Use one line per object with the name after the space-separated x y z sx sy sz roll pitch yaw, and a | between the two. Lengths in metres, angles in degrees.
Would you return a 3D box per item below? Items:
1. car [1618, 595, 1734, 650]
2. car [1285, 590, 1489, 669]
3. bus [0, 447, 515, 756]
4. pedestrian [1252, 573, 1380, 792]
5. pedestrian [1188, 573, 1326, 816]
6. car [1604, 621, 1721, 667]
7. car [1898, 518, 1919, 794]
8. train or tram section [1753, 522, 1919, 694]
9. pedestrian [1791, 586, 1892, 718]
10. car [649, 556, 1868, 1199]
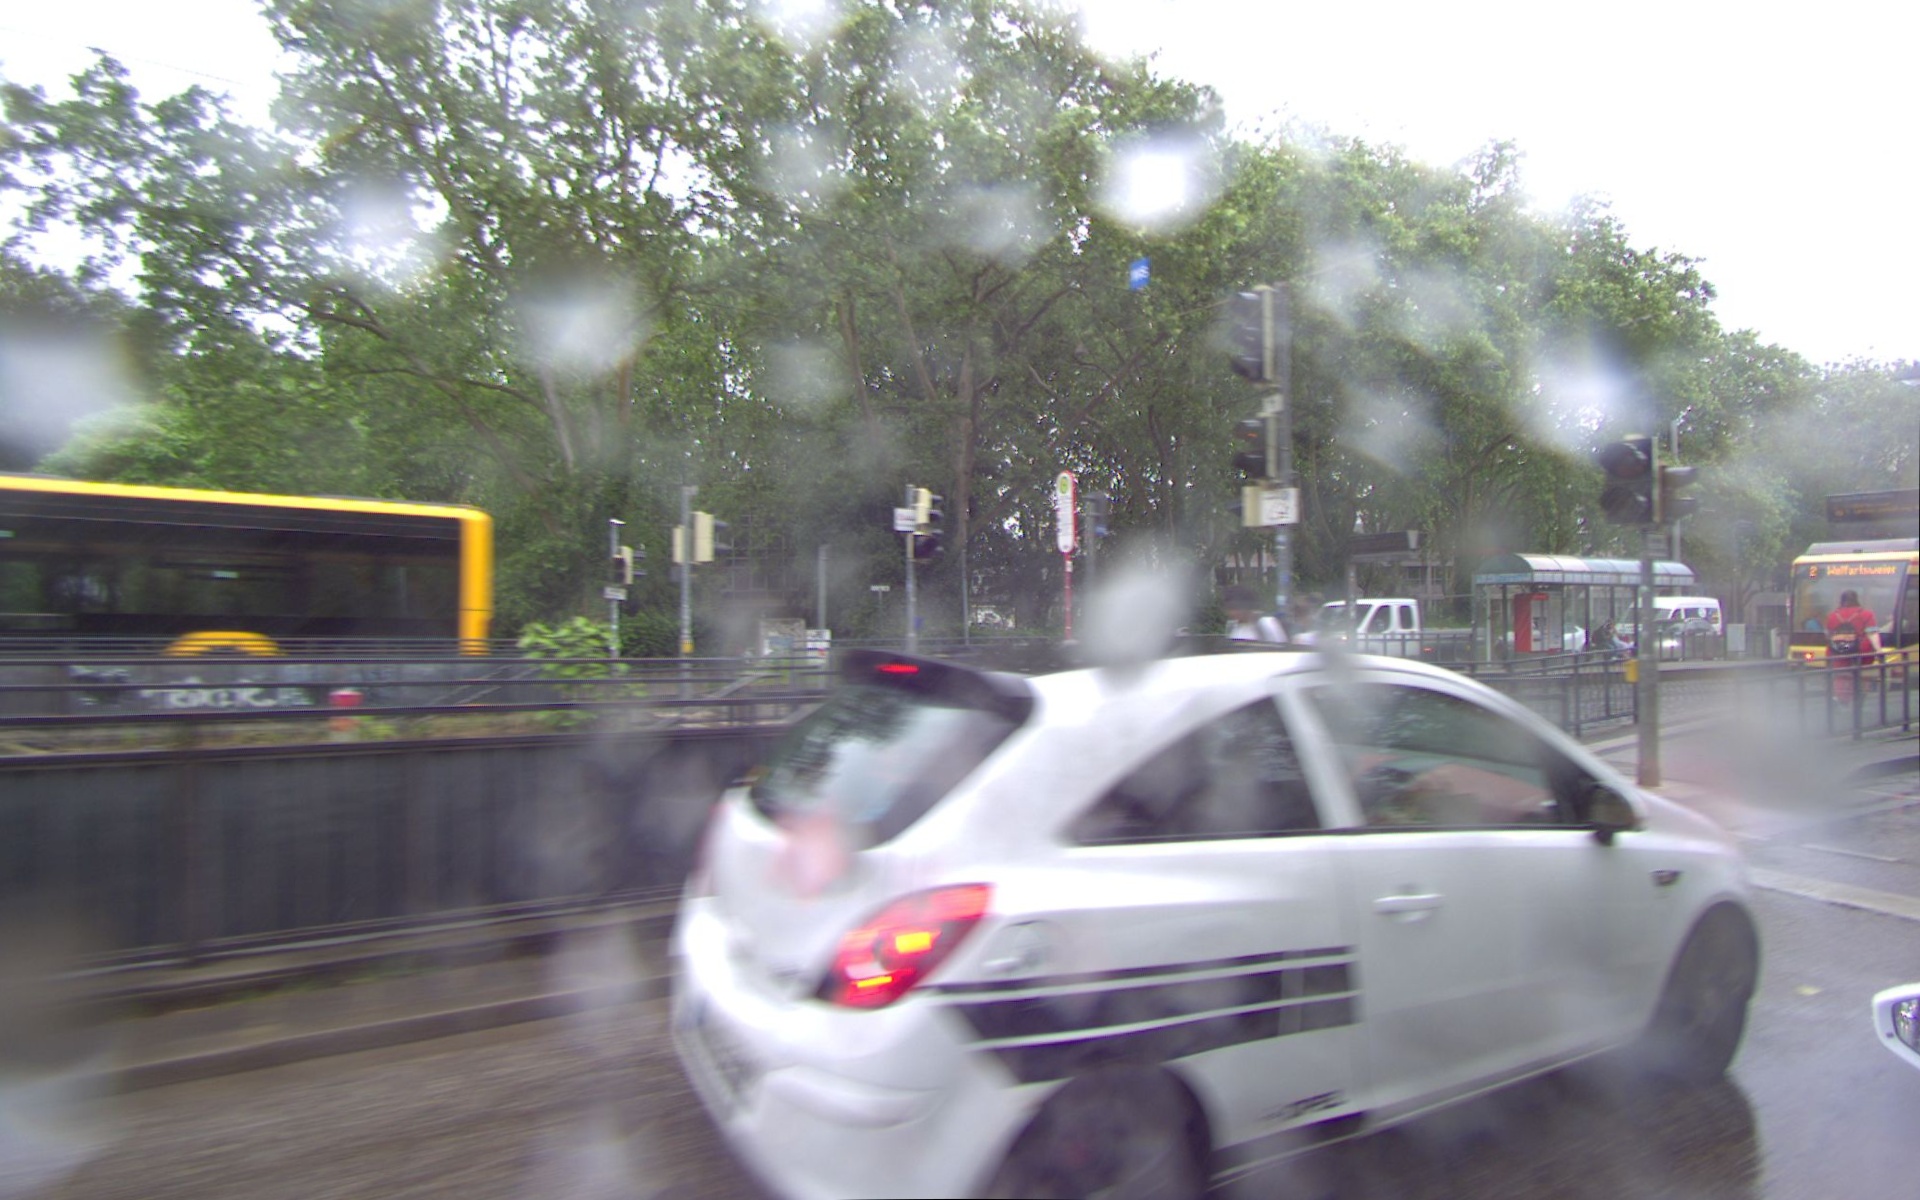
30.900 0.963 43.316 5.159 2.253 1.986 1 -1 -28 | car
12.229 0.844 28.615 6.042 2.040 2.174 1 -1 -30 | car
-12.930 -0.001 13.875 12.106 3.889 3.014 2 0 -31 | bus
3.041 0.674 8.595 0.798 1.761 0.674 1 -1 -30 | pedestrian
2.302 0.701 7.813 0.742 1.768 0.712 1 -1 -30 | pedestrian
25.536 1.570 36.489 3.952 1.602 1.985 1 -2 -30 | car
10.658 0.546 8.891 5.226 2.292 1.984 2 -1 -30 | car
21.482 0.205 22.592 8.263 3.329 2.947 0 -2 -31 | train or tram section
12.116 0.699 13.822 0.762 1.737 0.786 2 1 -30 | pedestrian
1.057 0.736 3.360 3.757 1.498 1.719 2 -1 -27 | car
